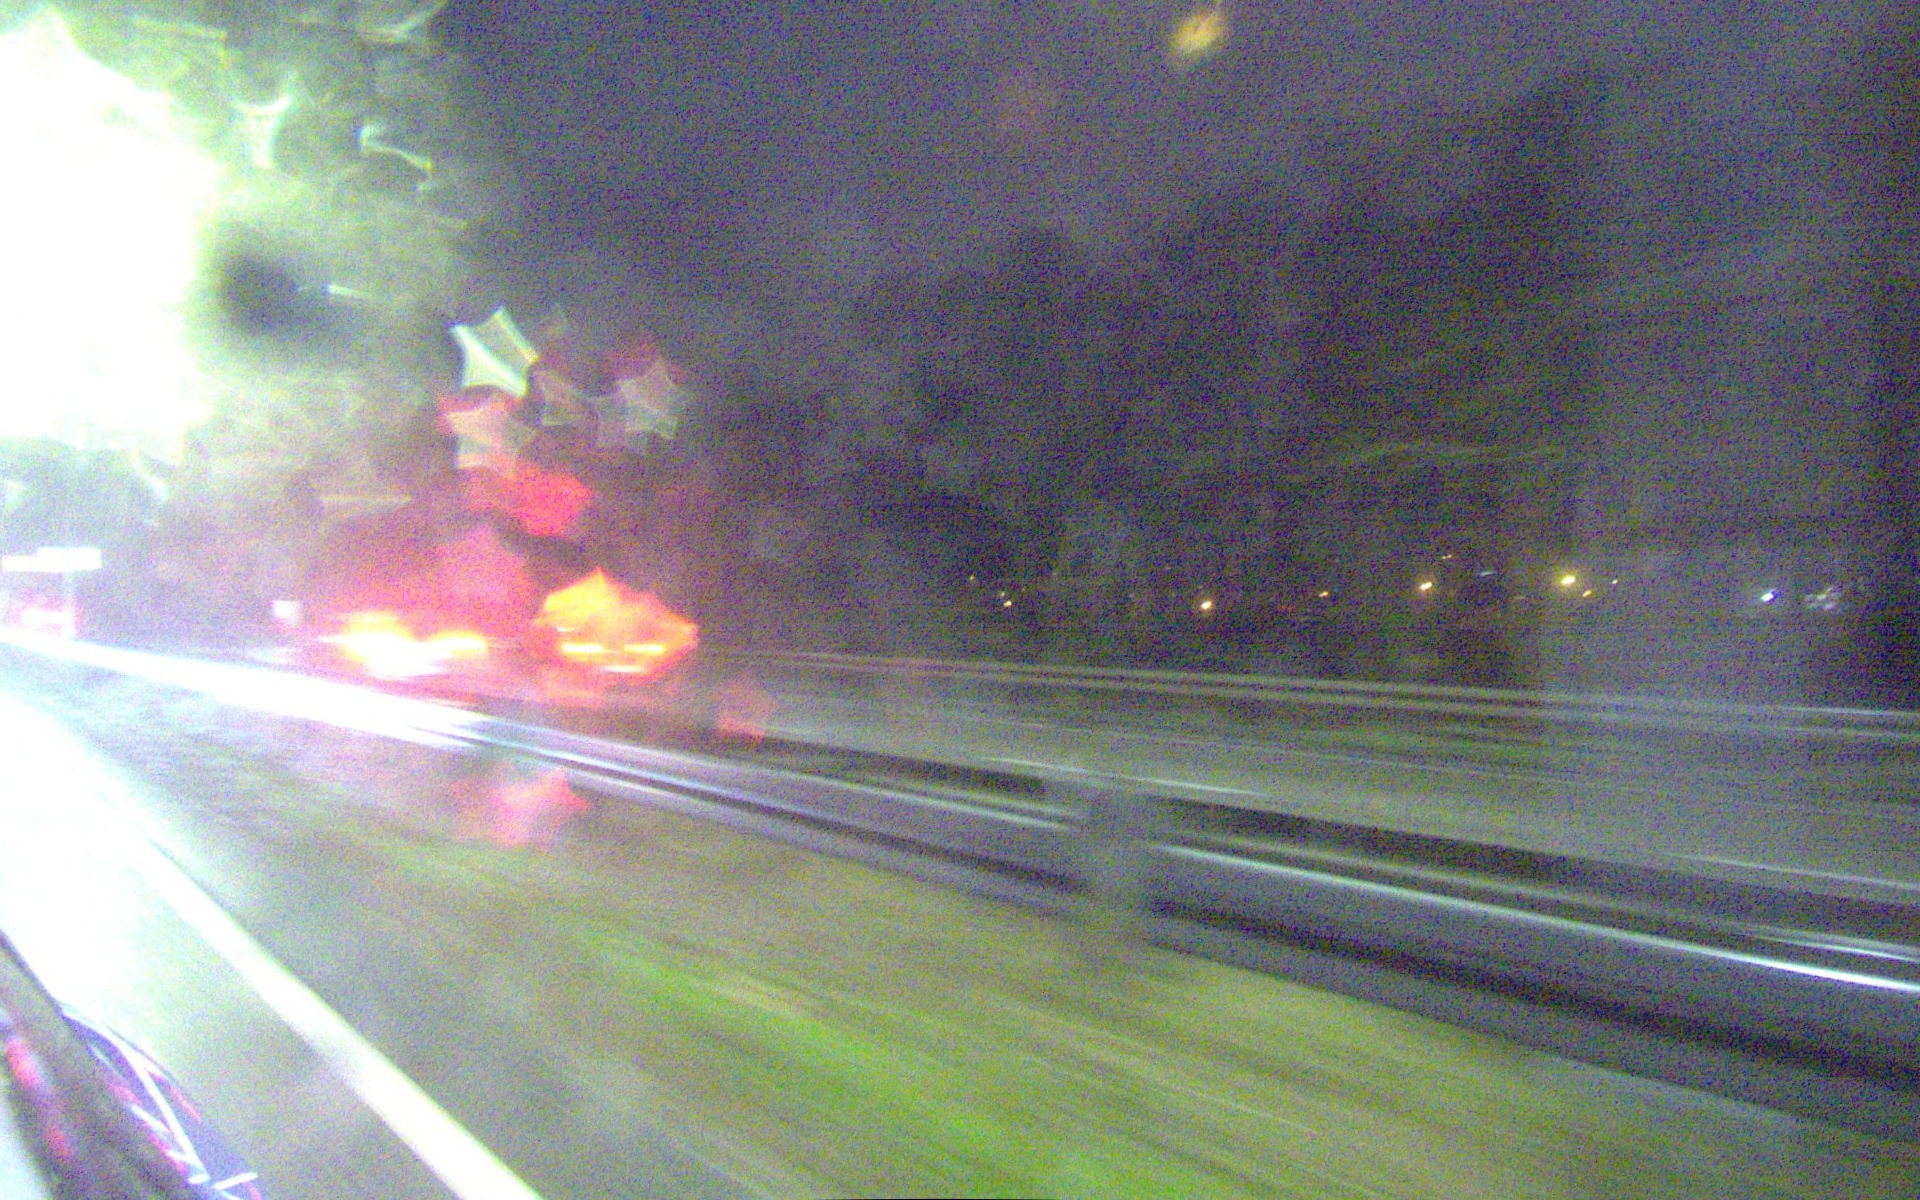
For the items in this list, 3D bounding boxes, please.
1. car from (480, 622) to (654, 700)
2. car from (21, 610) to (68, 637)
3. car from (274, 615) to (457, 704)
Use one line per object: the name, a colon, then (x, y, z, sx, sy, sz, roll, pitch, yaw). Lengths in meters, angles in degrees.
car: (-7.954, 1.160, 20.304, 4.164, 1.392, 1.592, -1, -3, 44)
car: (-55.378, 1.419, 61.189, 4.010, 1.564, 1.732, -1, -1, 43)
car: (-10.845, 0.978, 18.304, 4.746, 1.392, 1.593, -1, -1, 43)
